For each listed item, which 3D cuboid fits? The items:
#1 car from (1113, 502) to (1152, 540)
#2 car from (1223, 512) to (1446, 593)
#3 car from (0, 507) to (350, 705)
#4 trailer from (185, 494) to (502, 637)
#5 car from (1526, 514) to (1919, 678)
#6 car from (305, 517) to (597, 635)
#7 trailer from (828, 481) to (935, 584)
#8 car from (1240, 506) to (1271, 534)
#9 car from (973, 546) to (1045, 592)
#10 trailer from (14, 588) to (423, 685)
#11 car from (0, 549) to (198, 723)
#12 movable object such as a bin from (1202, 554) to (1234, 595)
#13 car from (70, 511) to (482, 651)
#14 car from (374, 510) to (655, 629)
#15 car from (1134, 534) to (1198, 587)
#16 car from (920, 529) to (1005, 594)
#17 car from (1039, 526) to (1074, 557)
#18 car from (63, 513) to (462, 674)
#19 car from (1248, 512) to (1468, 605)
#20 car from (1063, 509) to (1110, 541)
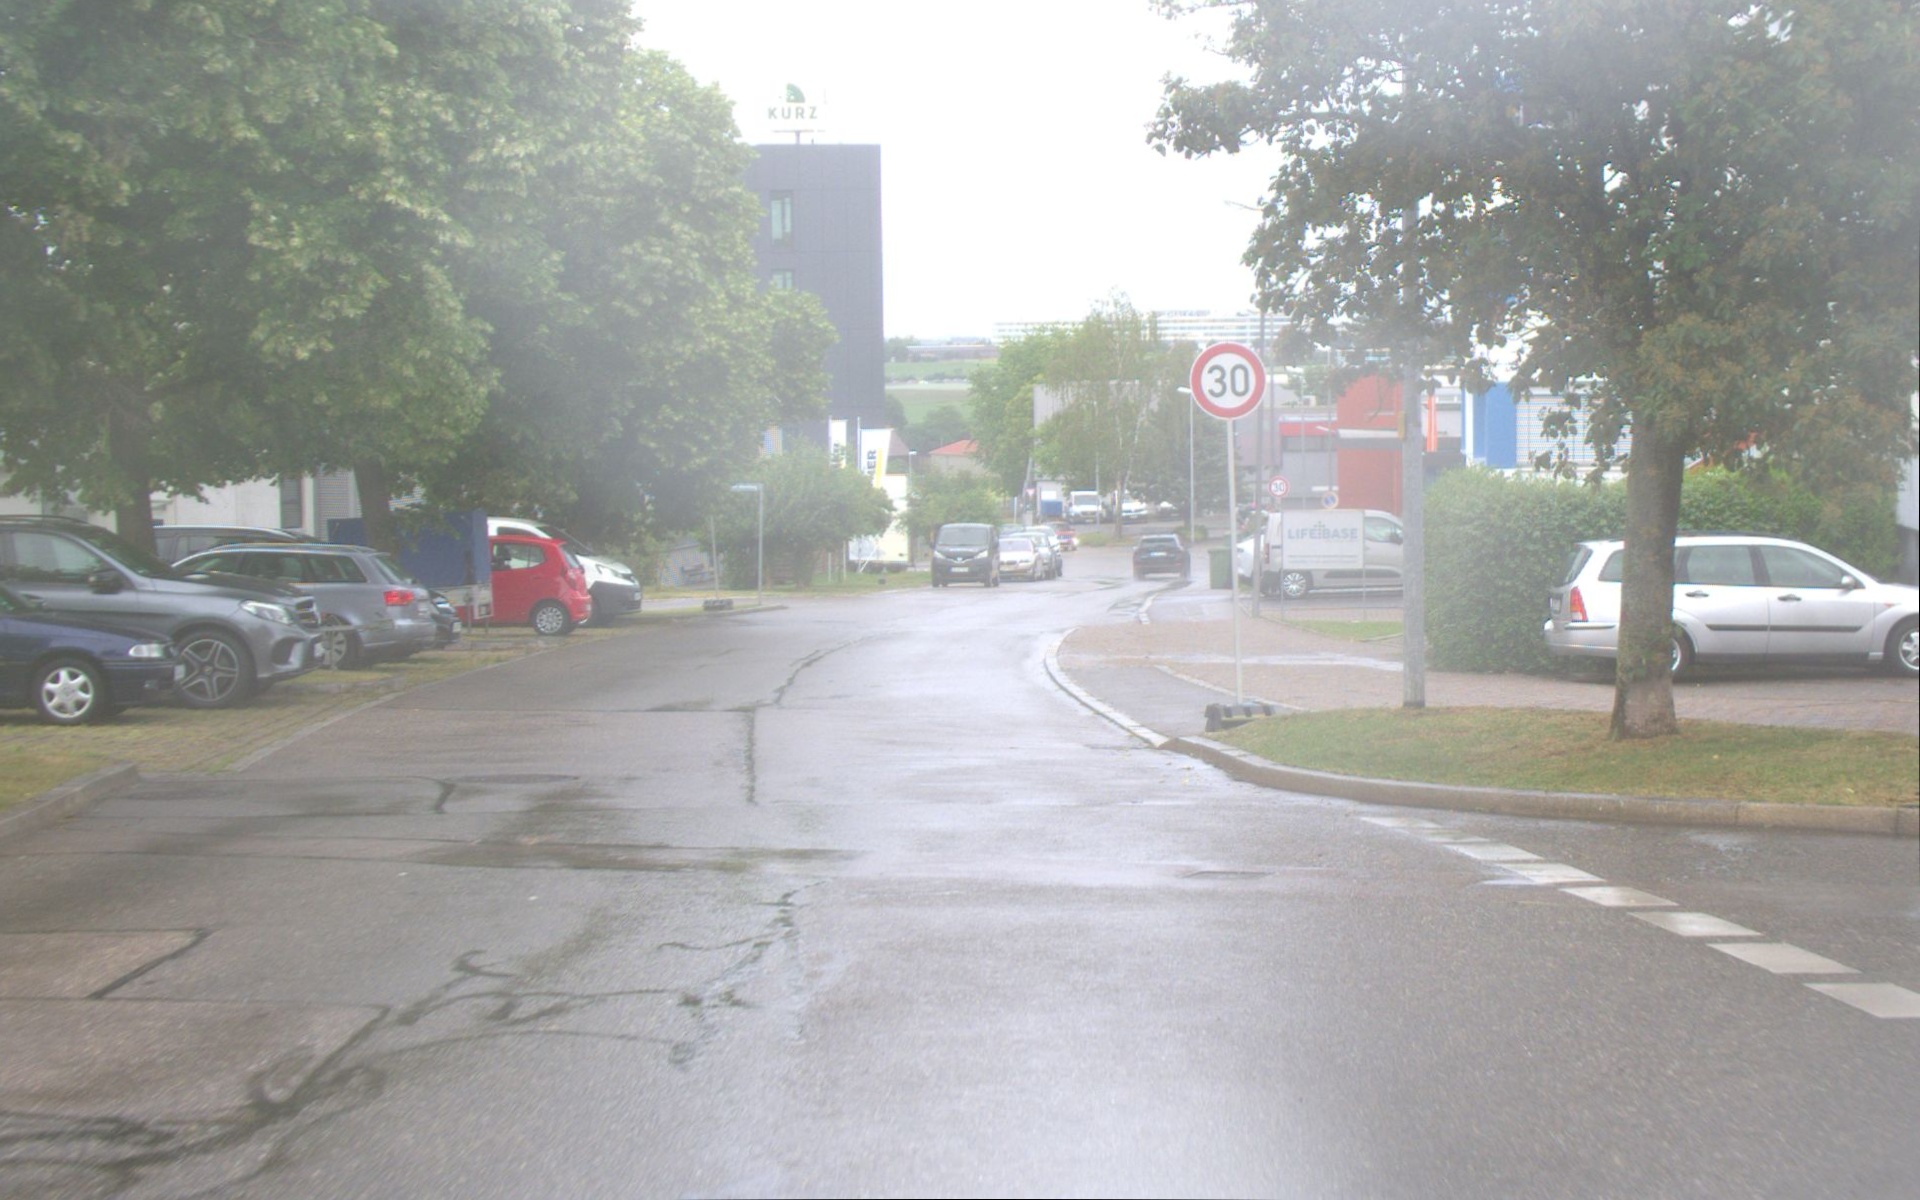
[{"bbox_3d":[11.342,-5.196,226.388,2.192,2.451,4.000,-1,0,-3],"label":"car"},{"bbox_3d":[7.954,-1.015,73.281,4.598,1.533,2.079,-2,1,5],"label":"car"},{"bbox_3d":[-7.969,0.057,31.548,4.367,1.716,2.045,-1,0,-1],"label":"car"},{"bbox_3d":[-8.926,-0.490,49.952,4.212,1.977,1.774,-1,0,3],"label":"trailer"},{"bbox_3d":[8.112,-0.050,35.301,4.313,1.579,1.858,-1,0,2],"label":"car"},{"bbox_3d":[-7.766,-0.361,52.751,4.195,1.716,1.755,-1,0,0],"label":"car"},{"bbox_3d":[-3.288,-2.787,143.261,4.183,4.188,2.001,-1,1,44],"label":"trailer"},{"bbox_3d":[16.406,-4.415,190.721,1.697,1.470,3.999,-1,0,5],"label":"car"},{"bbox_3d":[1.657,-1.060,114.417,1.956,1.456,5.247,-1,1,6],"label":"car"},{"bbox_3d":[-7.909,0.377,36.917,3.941,0.958,2.000,0,1,1],"label":"trailer"},{"bbox_3d":[-8.659,0.290,28.862,4.211,1.426,1.774,0,0,-5],"label":"car"},{"bbox_3d":[6.565,-0.654,87.335,0.772,1.026,0.808,0,1,7],"label":"movable object such as a bin"},{"bbox_3d":[-8.335,-0.241,42.143,4.618,1.584,1.806,1,0,3],"label":"car"},{"bbox_3d":[-7.464,-0.514,57.780,4.301,1.899,1.861,-1,0,9],"label":"car"},{"bbox_3d":[6.813,-1.298,114.031,1.956,1.670,4.472,-1,0,2],"label":"car"},{"bbox_3d":[0.113,-1.115,99.855,1.916,1.825,4.846,0,1,7],"label":"car"},{"bbox_3d":[5.236,-3.159,185.967,1.747,1.503,3.935,-3,0,3],"label":"car"},{"bbox_3d":[-7.980,-0.083,39.589,4.074,1.716,2.025,1,0,4],"label":"car"},{"bbox_3d":[8.083,-0.853,70.169,4.341,1.767,2.089,-1,1,4],"label":"car"},{"bbox_3d":[8.311,-4.940,226.252,2.264,2.007,4.001,-1,0,-10],"label":"car"}]
